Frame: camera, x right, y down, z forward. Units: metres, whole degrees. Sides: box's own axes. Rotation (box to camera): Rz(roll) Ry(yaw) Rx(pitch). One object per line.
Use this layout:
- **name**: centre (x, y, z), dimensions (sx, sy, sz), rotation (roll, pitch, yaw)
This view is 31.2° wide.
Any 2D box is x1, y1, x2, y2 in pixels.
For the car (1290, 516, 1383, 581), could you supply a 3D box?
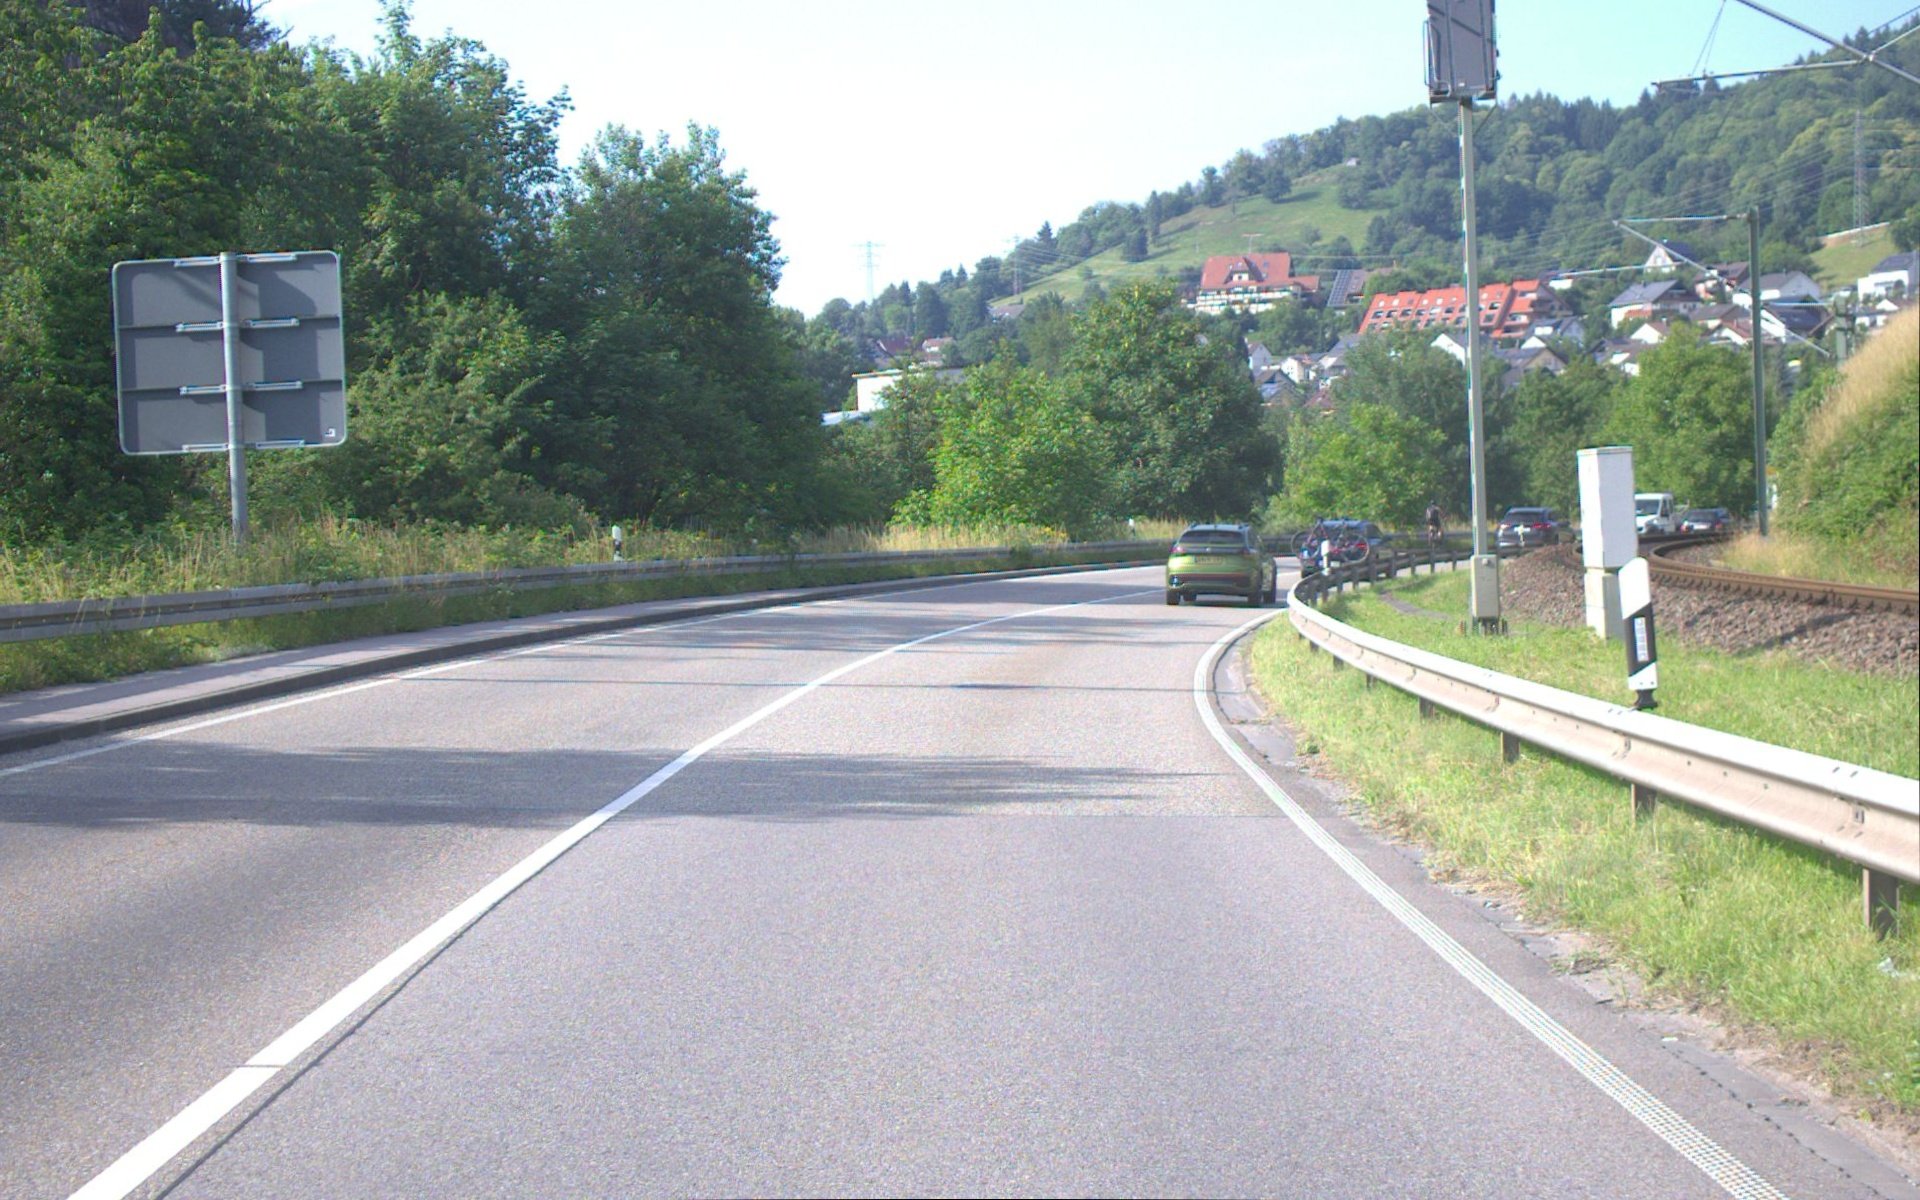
- **car**: centre (9.142, -1.255, 83.286), dimensions (1.841, 1.454, 3.711), rotation (-2, 1, 12)

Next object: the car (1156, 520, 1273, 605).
- **car**: centre (4.712, -0.711, 63.350), dimensions (1.729, 1.452, 3.409), rotation (-2, 1, 11)

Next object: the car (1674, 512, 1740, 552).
- **car**: centre (28.993, -2.643, 133.315), dimensions (1.810, 1.403, 3.769), rotation (-2, 1, 23)

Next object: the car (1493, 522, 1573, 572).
- **car**: centre (18.357, -1.706, 110.059), dimensions (1.808, 1.448, 3.644), rotation (-2, 1, 20)
